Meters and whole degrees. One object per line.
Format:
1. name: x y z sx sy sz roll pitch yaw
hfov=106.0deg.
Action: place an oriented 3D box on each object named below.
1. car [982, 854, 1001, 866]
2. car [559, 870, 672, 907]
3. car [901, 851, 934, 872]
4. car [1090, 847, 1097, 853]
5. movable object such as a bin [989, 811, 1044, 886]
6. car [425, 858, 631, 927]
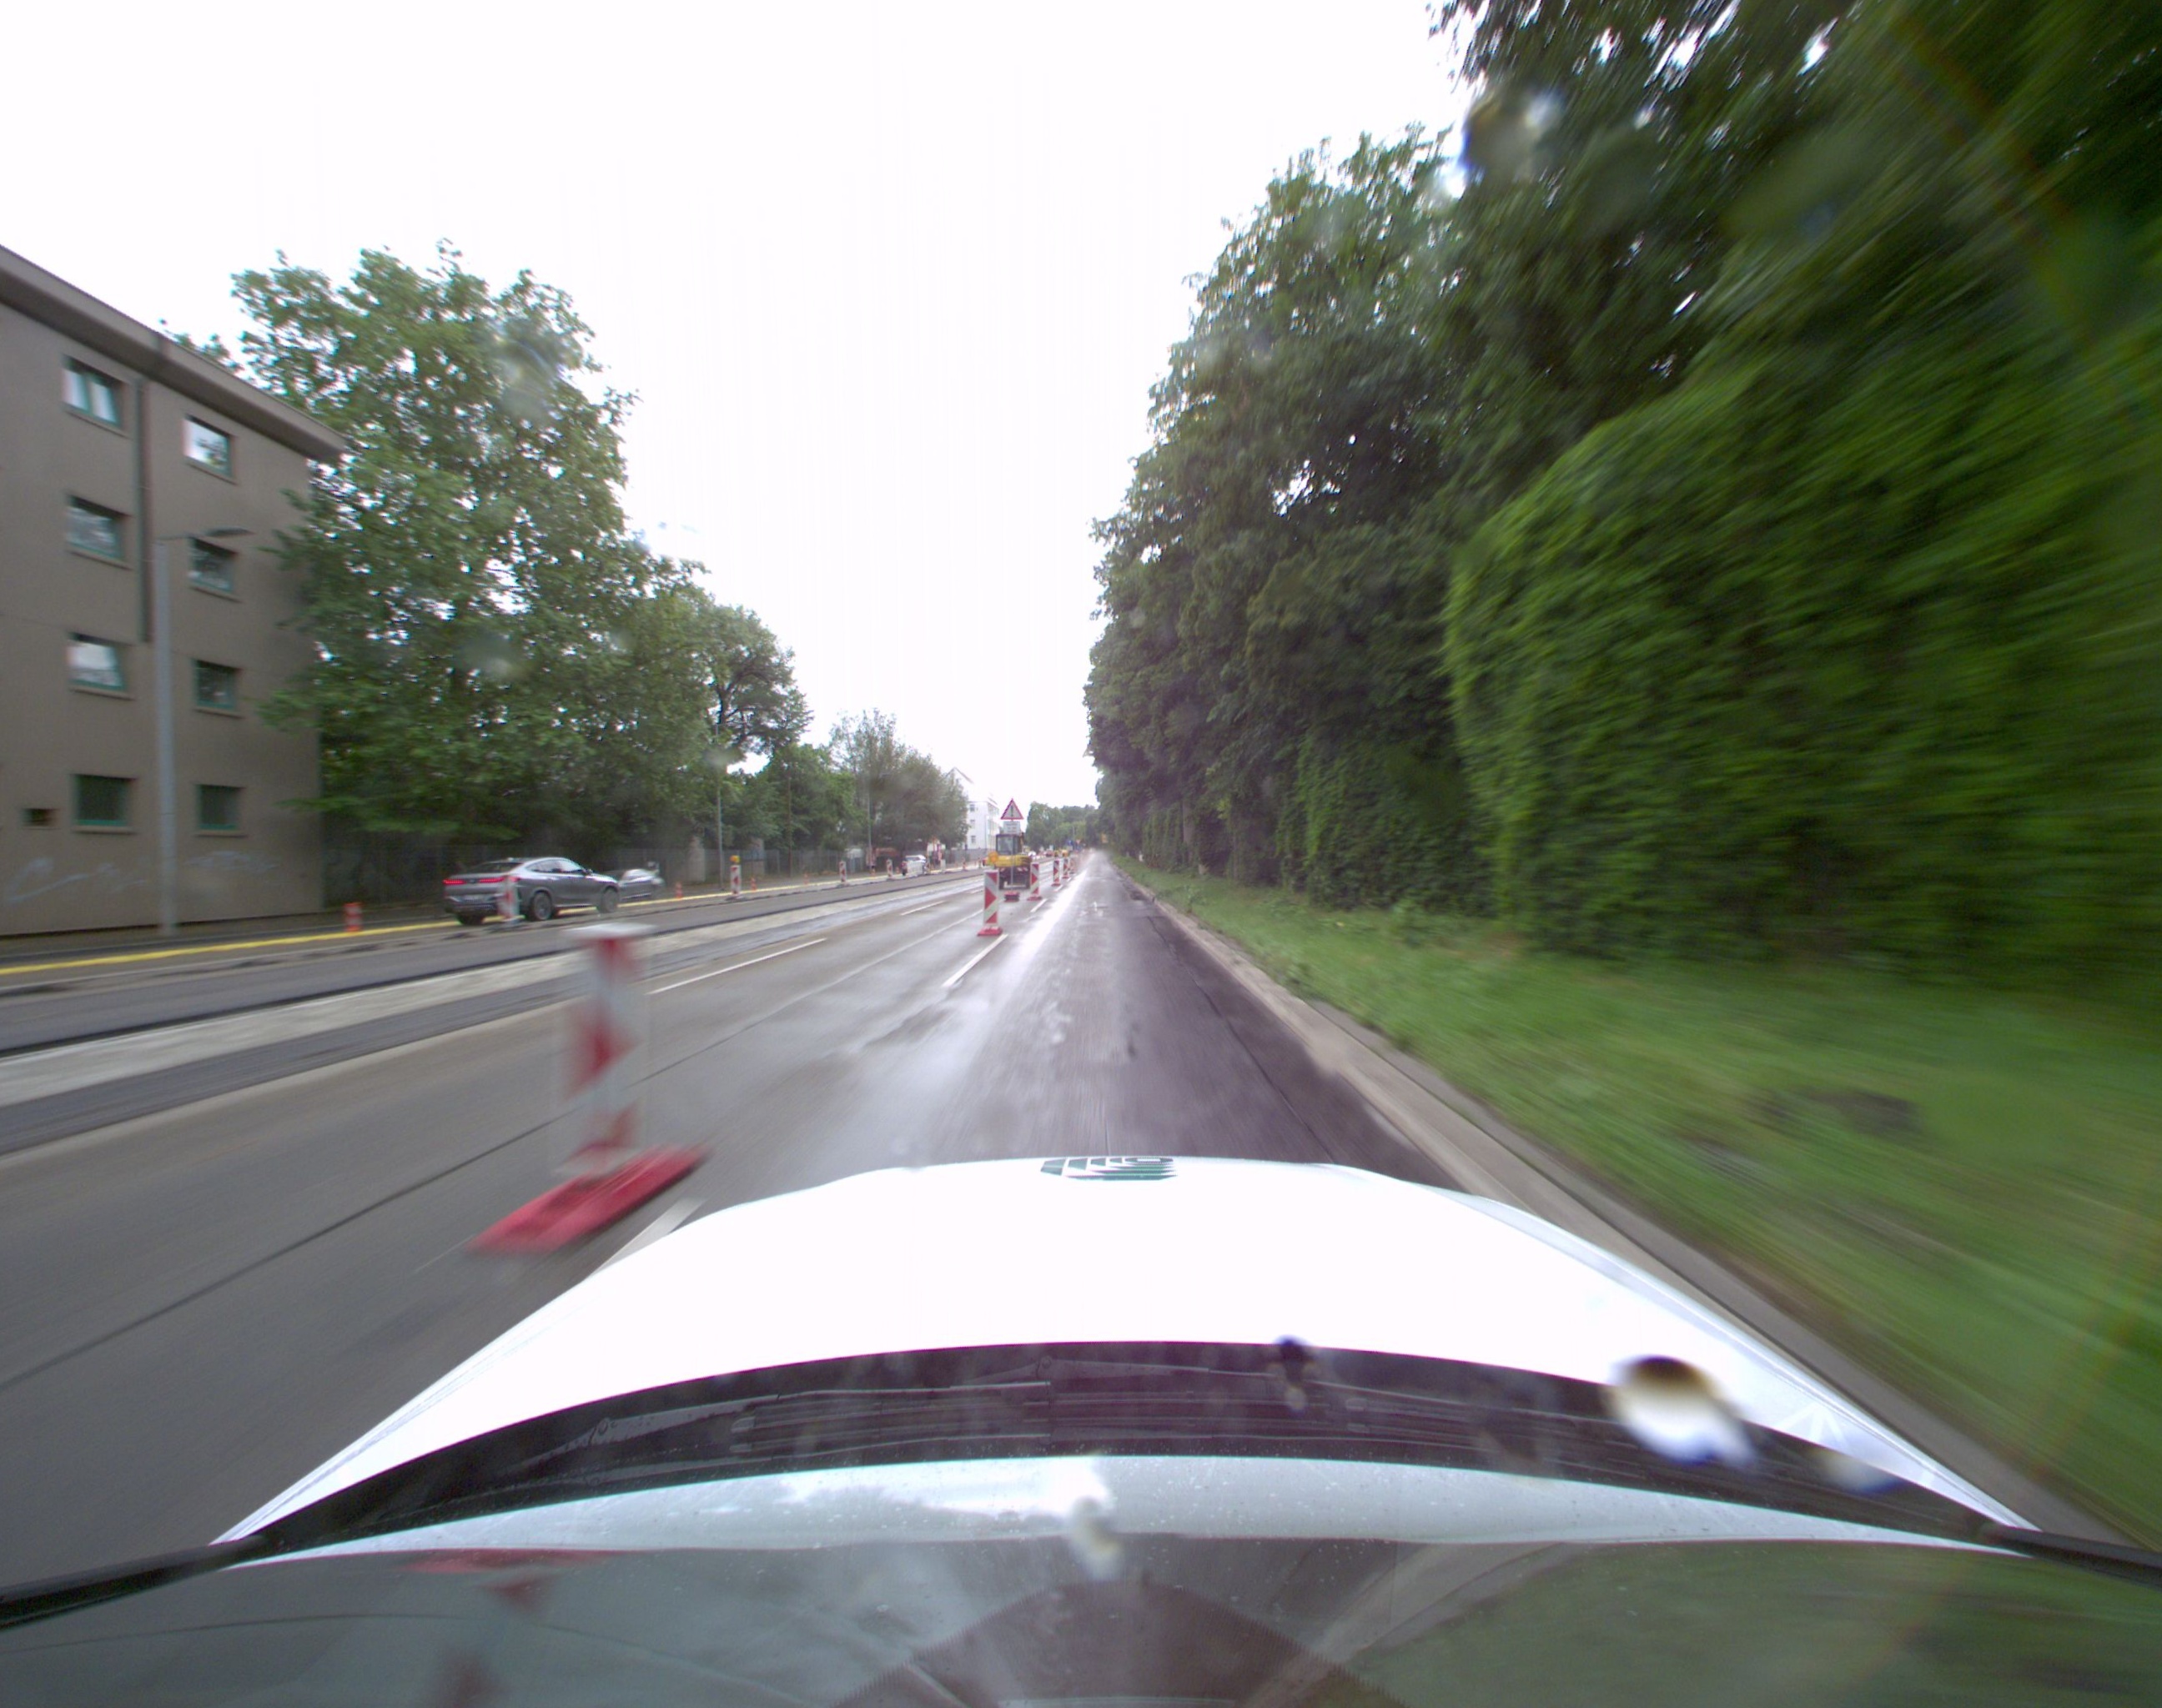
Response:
1. car: -12.417 0.800 113.174 1.986 1.519 4.001 -1 0 1
2. car: -19.835 1.439 35.021 1.986 1.348 4.792 -1 0 1
3. car: -13.630 0.585 67.915 1.848 1.648 4.001 -1 0 1
4. car: 3.406 -1.168 224.347 1.986 1.673 4.001 -1 0 1
5. movable object such as a bin: -3.058 -0.248 39.607 1.986 3.367 5.984 -1 0 1
6. car: -14.666 0.942 22.070 2.069 1.613 5.056 -1 0 1
